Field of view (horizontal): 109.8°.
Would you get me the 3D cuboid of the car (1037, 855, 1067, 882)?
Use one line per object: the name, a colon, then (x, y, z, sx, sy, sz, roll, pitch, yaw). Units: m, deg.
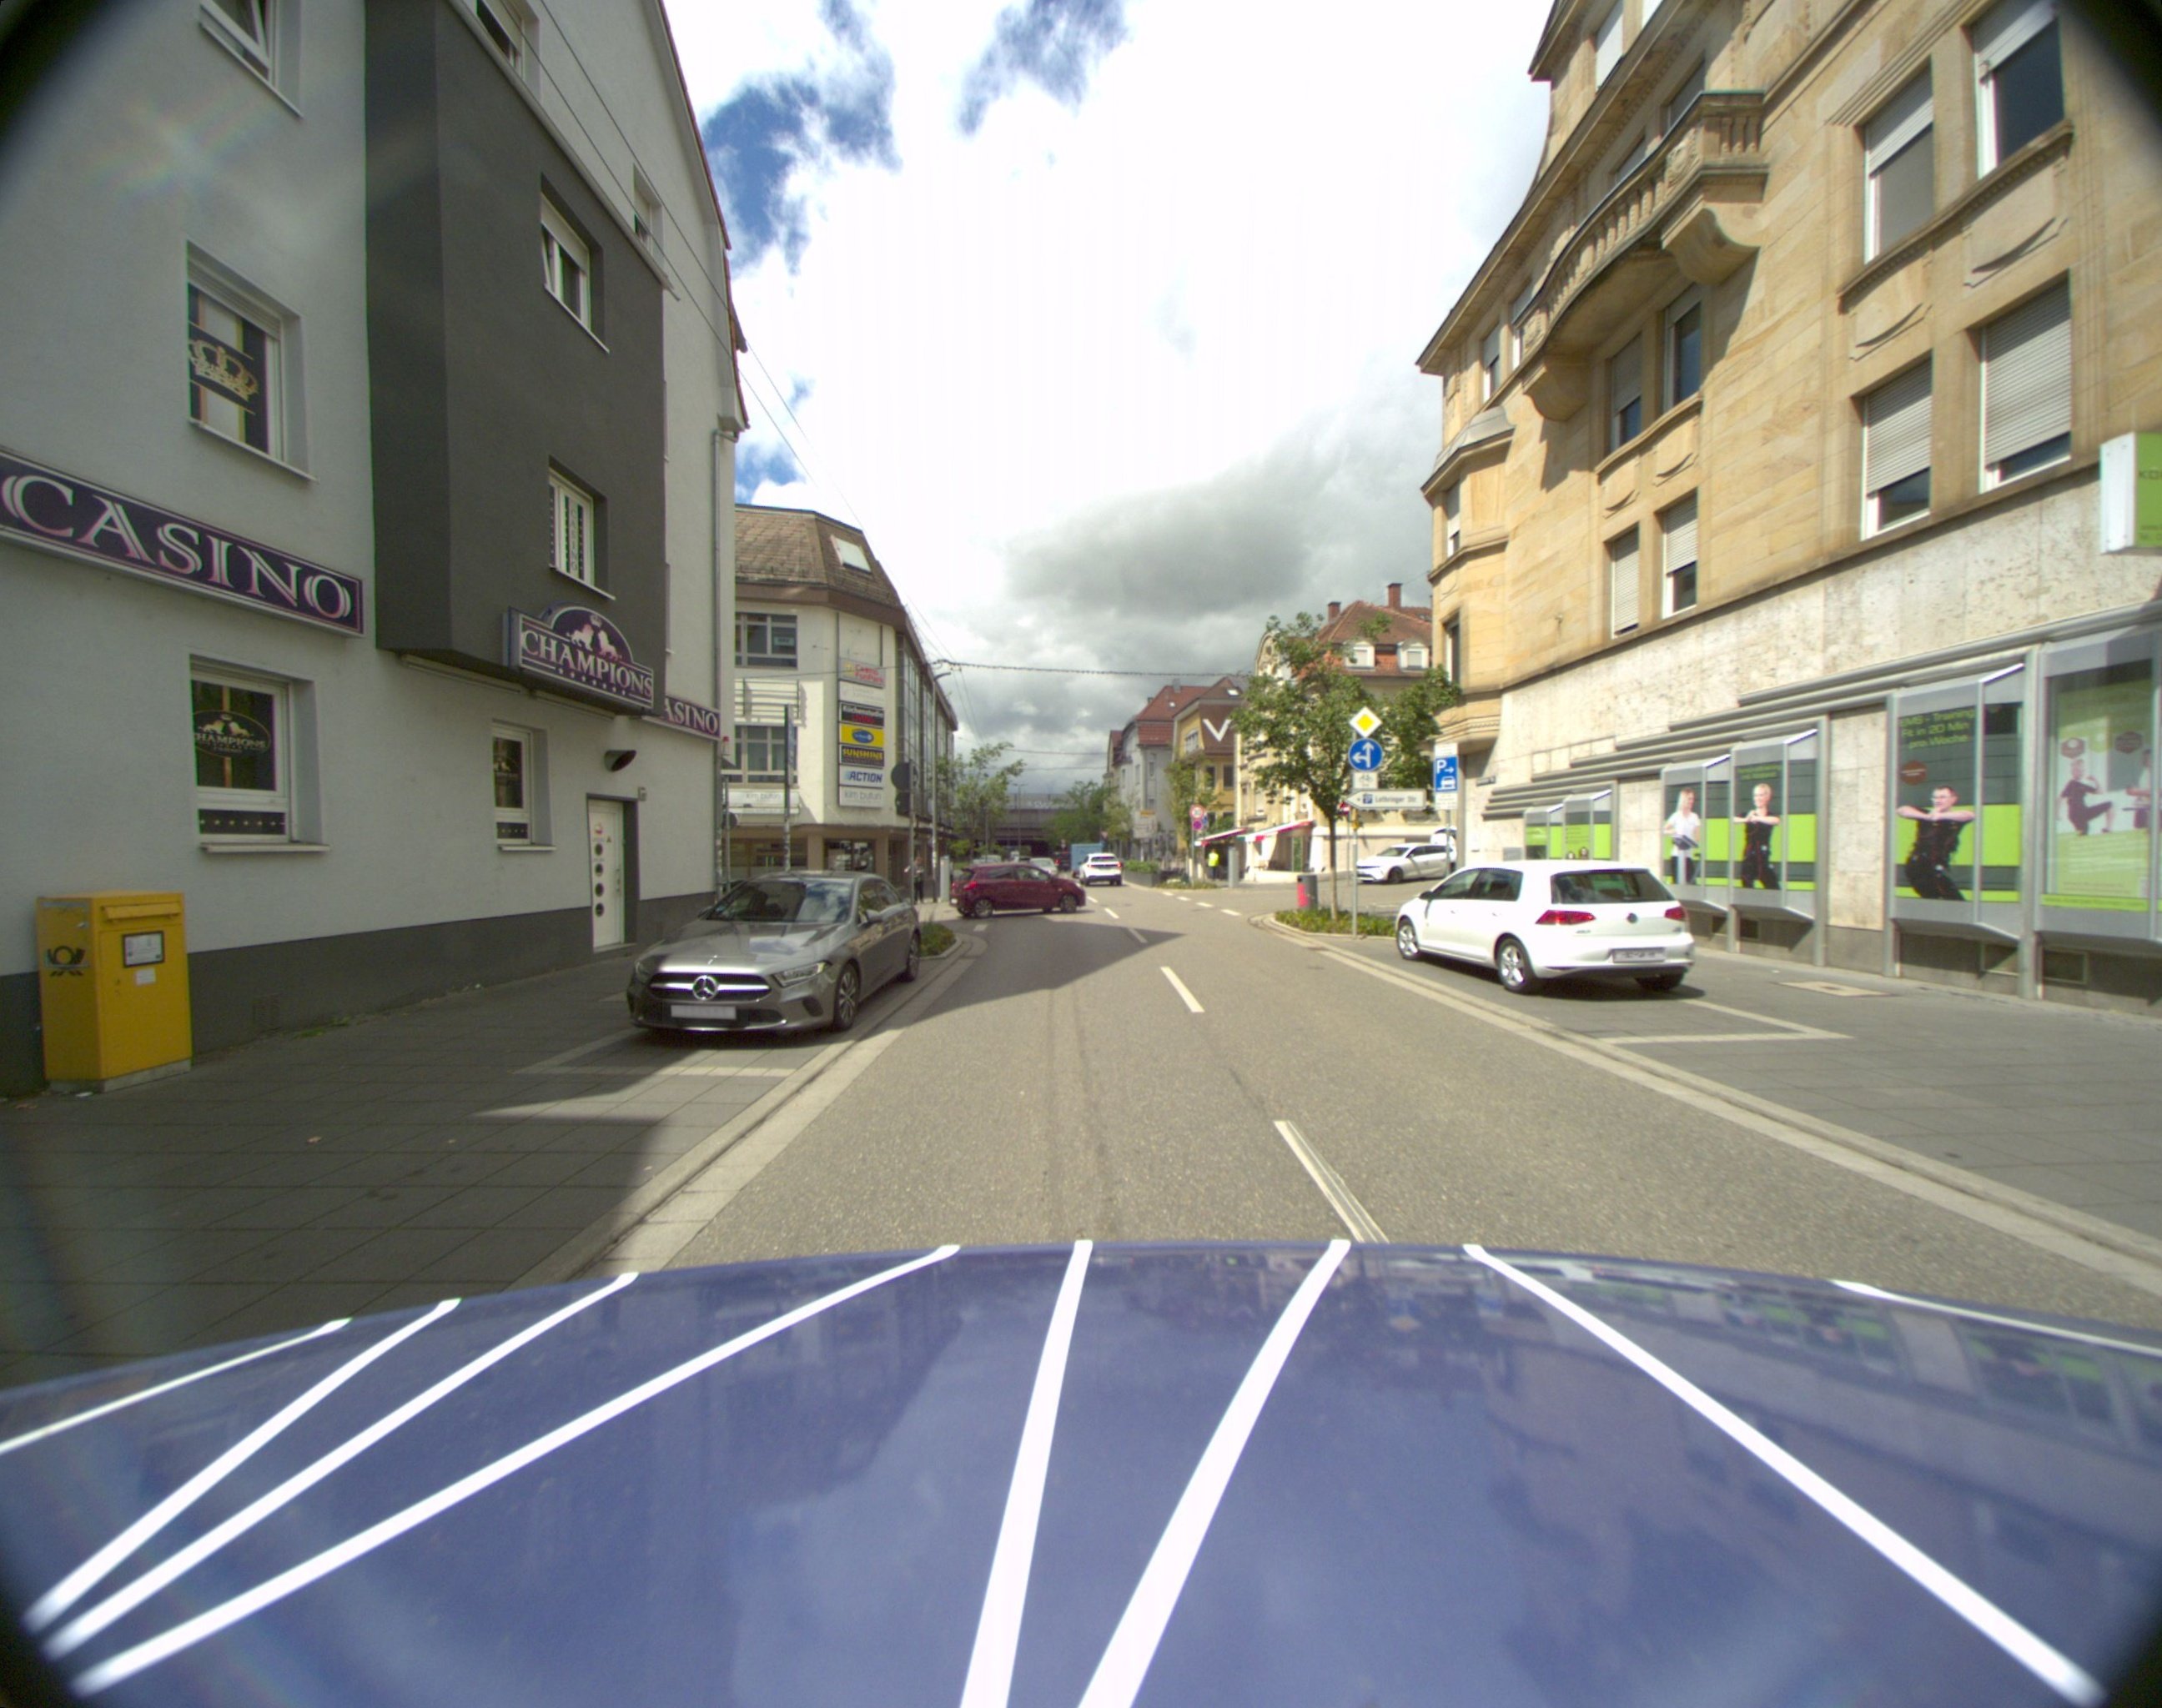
car: (-1.731, 0.860, 45.550, 1.724, 1.517, 3.597, -1, 0, -2)

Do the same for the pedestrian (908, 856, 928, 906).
pedestrian: (-5.724, 0.941, 26.716, 0.572, 1.693, 0.481, -2, 2, -7)

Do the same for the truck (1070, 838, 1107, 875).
truck: (0.452, 0.098, 52.350, 2.112, 2.292, 6.473, -2, 1, -3)

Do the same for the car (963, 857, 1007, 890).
car: (-4.591, 0.895, 36.935, 1.720, 1.445, 4.550, -1, 0, -3)

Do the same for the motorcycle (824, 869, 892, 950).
motorcycle: (-4.076, 0.965, 14.079, 0.661, 1.252, 2.375, -2, 1, -4)

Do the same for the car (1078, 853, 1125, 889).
car: (0.977, 0.821, 38.653, 1.793, 1.630, 4.113, -2, 1, -6)

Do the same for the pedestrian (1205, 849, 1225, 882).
pedestrian: (7.189, 0.609, 40.825, 0.801, 1.746, 0.812, -2, 2, -9)

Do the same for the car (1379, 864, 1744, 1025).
car: (5.512, 0.911, 9.462, 1.851, 1.390, 4.035, -2, 1, -3)

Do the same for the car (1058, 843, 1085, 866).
car: (-1.263, -0.013, 96.403, 2.310, 2.657, 7.263, -2, 1, -8)

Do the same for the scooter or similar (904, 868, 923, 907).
scooter or similar: (-5.867, 1.148, 26.597, 0.432, 1.273, 1.248, -2, 1, -5)

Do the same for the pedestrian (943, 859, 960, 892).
pedestrian: (-6.249, 1.039, 36.725, 0.661, 1.553, 0.477, -2, 2, -3)

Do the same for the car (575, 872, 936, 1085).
car: (-2.921, 1.015, 8.002, 1.711, 1.412, 4.318, -2, 1, 3)

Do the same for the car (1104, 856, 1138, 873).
car: (3.090, 0.806, 59.445, 1.723, 1.296, 4.463, -1, -1, -9)

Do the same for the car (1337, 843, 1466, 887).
car: (12.435, 0.392, 29.538, 4.391, 1.373, 1.996, -3, 1, -20)

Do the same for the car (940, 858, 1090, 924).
car: (-1.810, 0.951, 20.976, 3.763, 1.521, 1.534, -3, 1, -24)

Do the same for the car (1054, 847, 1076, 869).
car: (-1.544, 0.387, 72.186, 1.877, 1.921, 5.175, -1, -1, -3)

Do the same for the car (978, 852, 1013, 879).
car: (-5.498, 0.696, 49.360, 1.825, 1.652, 4.465, 1, 0, 0)

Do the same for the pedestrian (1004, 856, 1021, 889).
pedestrian: (-3.376, 0.901, 37.335, 0.584, 1.591, 0.549, -2, 2, 17)
